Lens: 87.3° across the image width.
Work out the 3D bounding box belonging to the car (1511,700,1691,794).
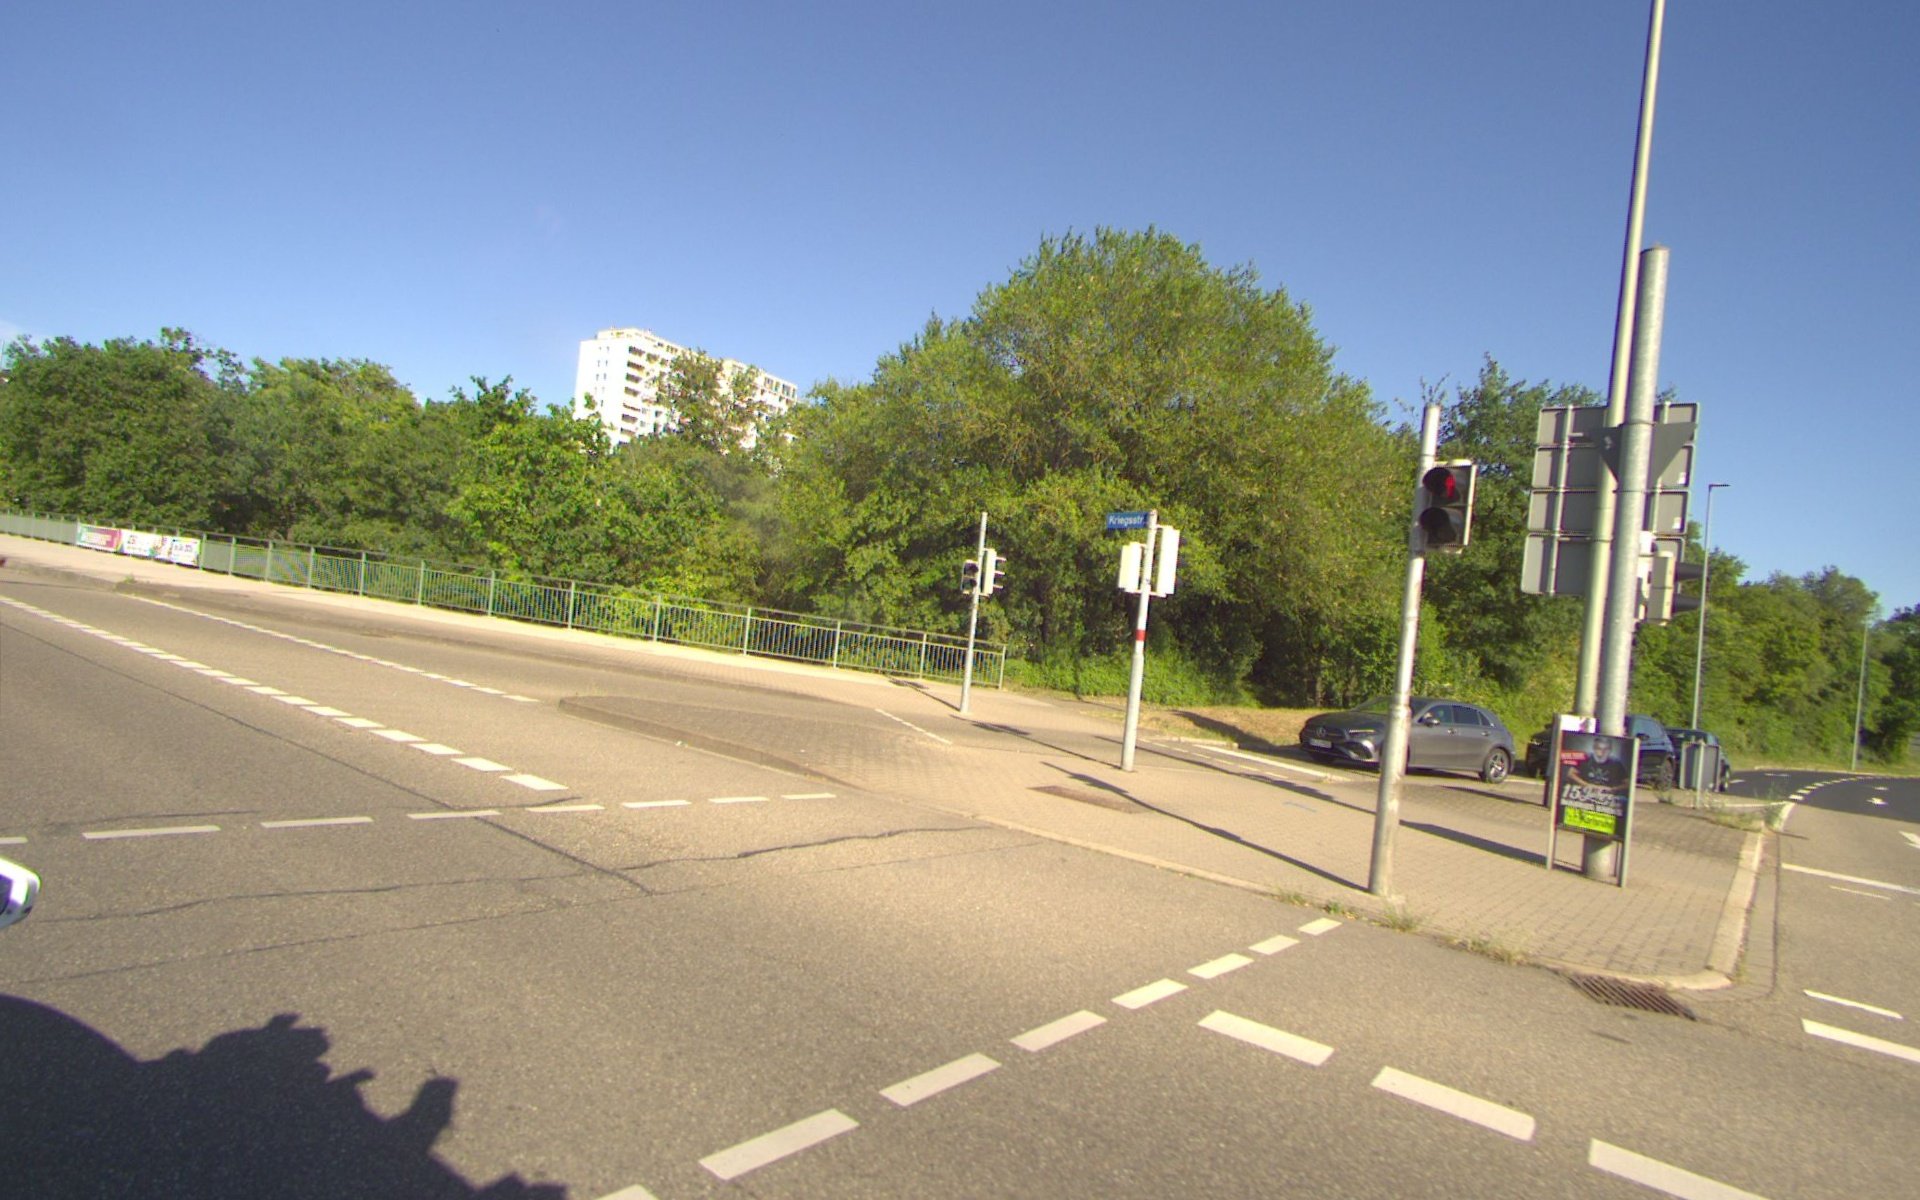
[{"bbox_3d":[14.230,3.263,22.229,4.642,1.635,1.841,8,-1,-39],"label":"car"}]

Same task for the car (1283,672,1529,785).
[{"bbox_3d":[8.296,2.392,18.686,4.195,1.570,1.849,8,-1,-27],"label":"car"}]

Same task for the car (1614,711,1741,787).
[{"bbox_3d":[19.674,4.054,27.491,4.648,1.635,1.839,8,-1,-43],"label":"car"}]
